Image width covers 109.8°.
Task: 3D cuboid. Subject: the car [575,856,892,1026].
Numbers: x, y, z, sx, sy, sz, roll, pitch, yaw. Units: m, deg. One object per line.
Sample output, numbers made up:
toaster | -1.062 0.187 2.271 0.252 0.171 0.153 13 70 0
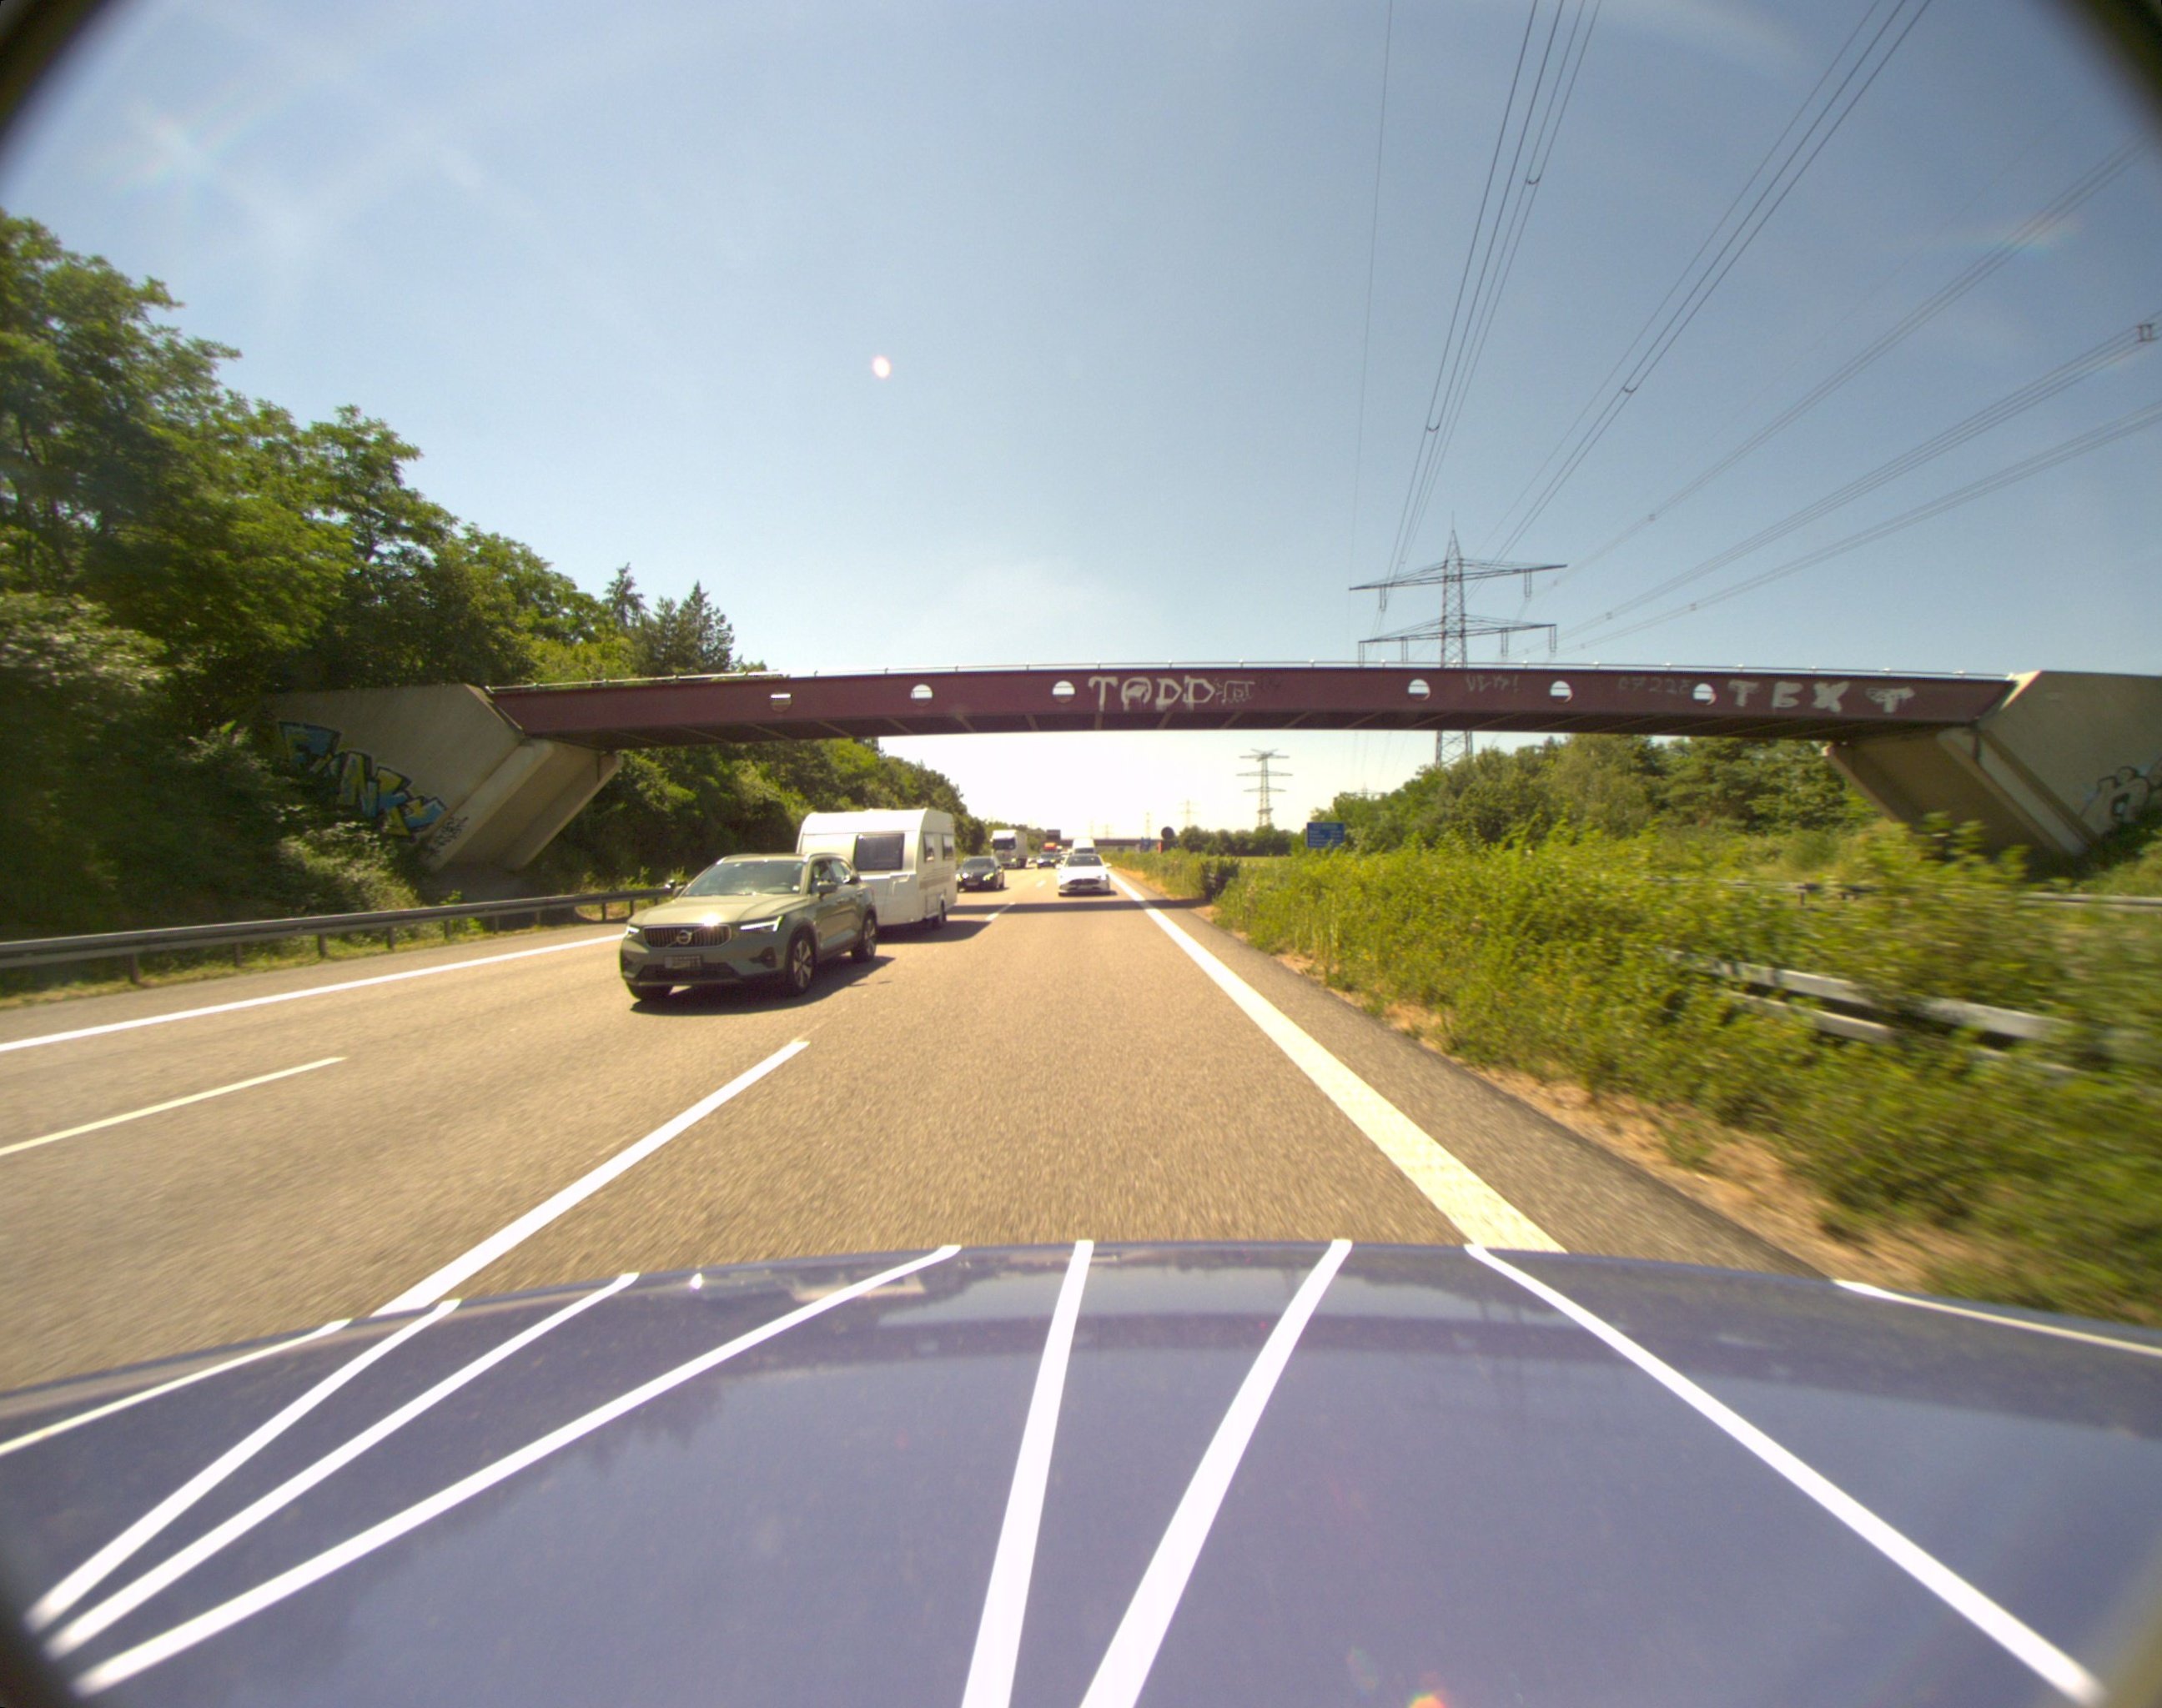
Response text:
car | -4.021 0.867 9.875 1.884 1.603 4.701 -2 0 0

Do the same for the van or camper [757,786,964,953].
van or camper | -4.043 0.255 15.450 2.445 2.659 6.348 -1 0 -1

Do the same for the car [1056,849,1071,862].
car | -2.330 0.195 103.542 1.984 1.671 4.557 0 1 -1

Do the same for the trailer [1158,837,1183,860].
trailer | 18.699 -1.068 159.680 3.352 4.381 14.165 5 0 1

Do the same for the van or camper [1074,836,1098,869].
van or camper | 0.471 -0.157 66.592 1.998 2.740 5.410 -2 0 1

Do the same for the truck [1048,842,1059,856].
truck | -6.693 -1.211 186.676 2.582 3.204 5.712 -3 1 -1

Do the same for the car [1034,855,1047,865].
car | -6.357 0.904 120.629 1.840 1.403 4.558 -2 0 -1

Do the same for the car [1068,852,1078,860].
car | -1.562 0.392 144.687 1.984 1.525 4.137 -1 0 -1

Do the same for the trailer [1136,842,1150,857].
trailer | 18.490 -1.407 227.506 3.095 4.382 14.230 2 0 0

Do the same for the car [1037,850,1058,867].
car | -3.451 0.416 78.587 1.984 1.671 4.558 -1 0 -1

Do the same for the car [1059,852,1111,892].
car | 0.123 0.705 31.428 1.984 1.525 4.558 0 0 -1

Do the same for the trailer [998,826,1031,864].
trailer | -7.553 -0.985 87.892 2.736 4.078 13.187 -1 0 -1

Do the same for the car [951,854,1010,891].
car | -4.337 0.768 33.471 1.846 1.496 4.738 -1 0 1

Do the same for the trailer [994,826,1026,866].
trailer | -7.416 -0.823 80.287 2.720 4.079 6.788 -1 0 -1
